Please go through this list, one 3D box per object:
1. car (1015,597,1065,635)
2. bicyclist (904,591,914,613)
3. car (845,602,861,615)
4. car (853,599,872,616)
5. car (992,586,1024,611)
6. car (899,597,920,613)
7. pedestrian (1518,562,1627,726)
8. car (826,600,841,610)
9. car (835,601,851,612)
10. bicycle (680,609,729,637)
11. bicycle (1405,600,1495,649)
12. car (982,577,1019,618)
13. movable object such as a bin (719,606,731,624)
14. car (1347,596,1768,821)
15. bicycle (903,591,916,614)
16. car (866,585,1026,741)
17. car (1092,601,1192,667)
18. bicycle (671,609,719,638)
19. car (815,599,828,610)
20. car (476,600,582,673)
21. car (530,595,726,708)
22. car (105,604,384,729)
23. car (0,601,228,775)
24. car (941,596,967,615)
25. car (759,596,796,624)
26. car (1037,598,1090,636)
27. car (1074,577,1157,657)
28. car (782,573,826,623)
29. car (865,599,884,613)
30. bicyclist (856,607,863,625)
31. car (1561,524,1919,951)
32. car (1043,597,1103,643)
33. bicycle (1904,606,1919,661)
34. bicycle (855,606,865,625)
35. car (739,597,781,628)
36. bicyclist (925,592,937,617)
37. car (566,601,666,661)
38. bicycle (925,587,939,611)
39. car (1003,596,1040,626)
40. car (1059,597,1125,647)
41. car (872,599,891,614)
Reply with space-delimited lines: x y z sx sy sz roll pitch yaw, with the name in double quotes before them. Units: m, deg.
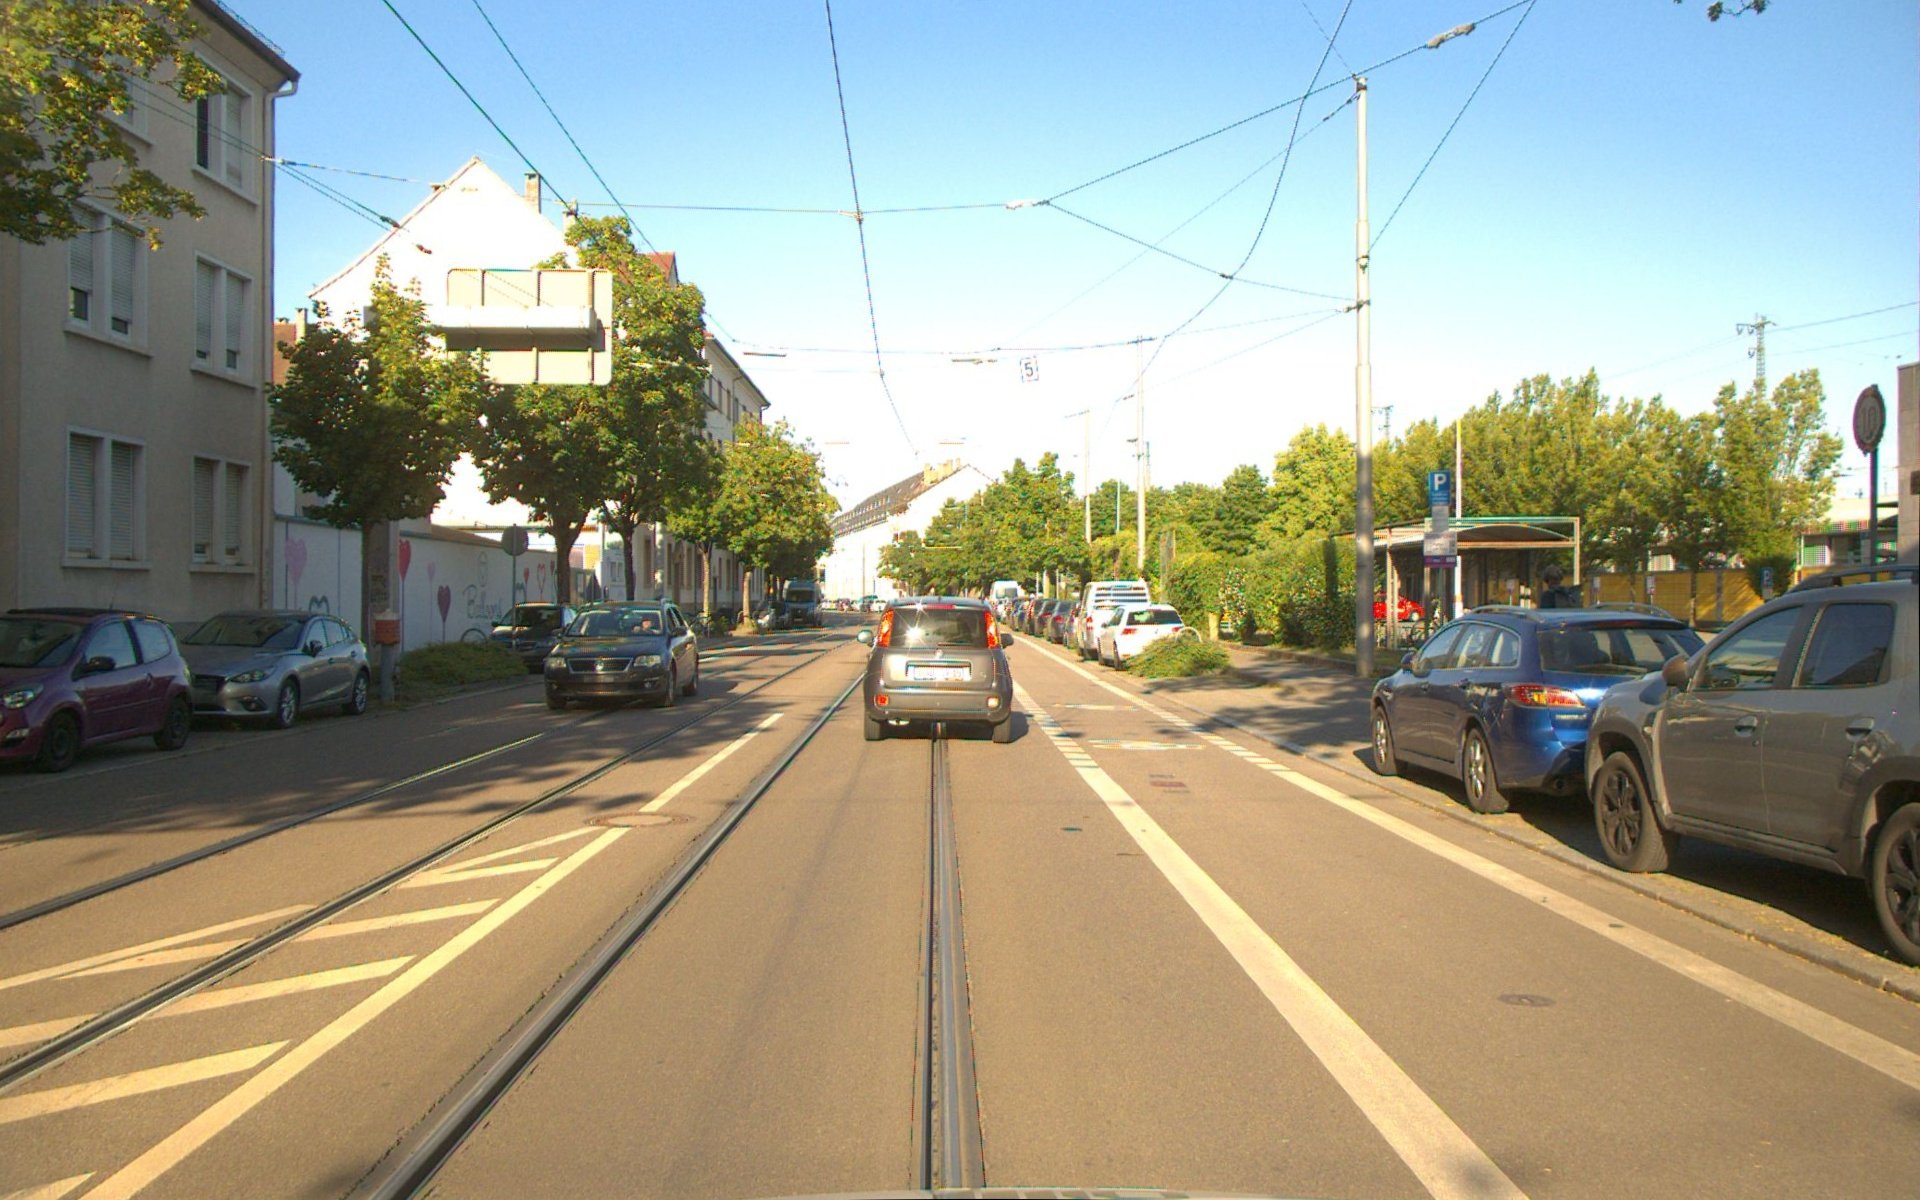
"car" 3.481 0.692 72.263 1.788 1.519 3.812 -2 0 -3
"bicyclist" -4.029 0.161 130.831 0.687 1.790 0.755 1 -1 -12
"car" -13.233 1.040 204.547 1.626 1.526 3.121 1 0 -11
"car" -11.635 0.924 197.551 1.626 1.978 4.651 1 0 -11
"car" 3.156 -0.092 109.556 1.872 1.556 4.599 -1 0 -2
"car" -5.127 0.461 166.925 1.606 1.534 3.389 -2 0 -10
"pedestrian" 7.181 0.501 19.438 0.657 1.820 1.304 -4 0 -1
"car" -17.294 0.694 226.070 1.555 1.430 3.367 1 0 -12
"car" -15.196 0.843 214.799 1.555 1.429 3.367 -3 1 -12
"bicycle" -9.917 0.884 64.311 0.523 1.058 1.974 0 -1 43
"bicycle" 10.776 0.532 36.418 1.856 1.026 0.577 1 -1 11
"car" 2.801 -0.149 116.405 2.136 2.712 6.088 -2 0 -2
"movable object such as a bin" -12.685 0.805 89.389 0.584 0.951 0.568 0 0 -4
"car" 4.567 0.741 13.458 1.668 1.507 4.657 0 0 -1
"bicycle" -3.989 0.206 130.891 0.663 1.777 2.151 1 0 -12
"car" -0.183 0.647 19.012 1.616 1.568 4.233 -1 0 -1
"car" 4.240 0.768 39.190 1.642 1.442 4.500 -2 0 -3
"bicycle" -9.703 0.871 60.654 0.656 1.058 1.779 1 -1 36
"car" -20.105 0.666 239.648 1.555 1.627 3.367 1 0 -12
"car" -9.601 0.777 37.113 1.739 1.512 4.298 1 0 -7
"car" -4.768 0.700 24.415 1.729 1.489 4.748 -1 0 2
"car" -9.264 0.801 21.842 1.835 1.454 4.292 1 0 -1
"car" -9.072 0.791 16.750 1.540 1.531 3.999 1 0 -1
"car" -0.501 0.456 135.429 1.657 1.557 3.993 -1 0 -8
"car" -9.972 0.540 90.598 1.618 1.450 4.189 1 0 -1
"car" 4.109 0.663 66.271 1.787 1.477 4.641 0 0 0
"car" 4.116 0.437 44.523 1.816 2.026 5.242 0 0 1
"car" -9.233 -0.103 98.256 1.976 2.875 6.031 1 0 0
"car" -9.825 0.682 189.211 1.626 1.599 3.865 1 0 -11
"bicyclist" -11.070 1.762 182.406 0.702 2.049 0.829 1 -1 -12
"car" 4.692 0.581 8.117 1.707 1.741 4.274 1 0 -4
"car" 3.907 0.700 57.924 1.787 1.510 4.601 1 0 0
"bicycle" 19.805 0.678 33.512 0.741 1.089 1.996 0 -1 43
"bicycle" -11.034 1.749 182.237 0.728 2.049 2.803 1 0 -12
"car" -10.152 0.632 84.141 1.618 1.517 3.999 1 0 -1
"bicyclist" -2.145 0.345 122.176 0.687 1.790 0.755 1 -1 -12
"car" -9.357 0.824 45.375 1.827 1.516 4.660 1 0 -1
"bicycle" -2.092 -0.088 122.240 0.663 1.777 2.151 1 0 -12
"car" 3.522 0.628 95.569 1.693 1.632 4.339 1 0 -4
"car" 4.189 0.687 52.874 1.834 1.498 4.075 1 0 1
"car" -8.820 0.740 184.899 1.626 1.599 3.489 1 0 -11
